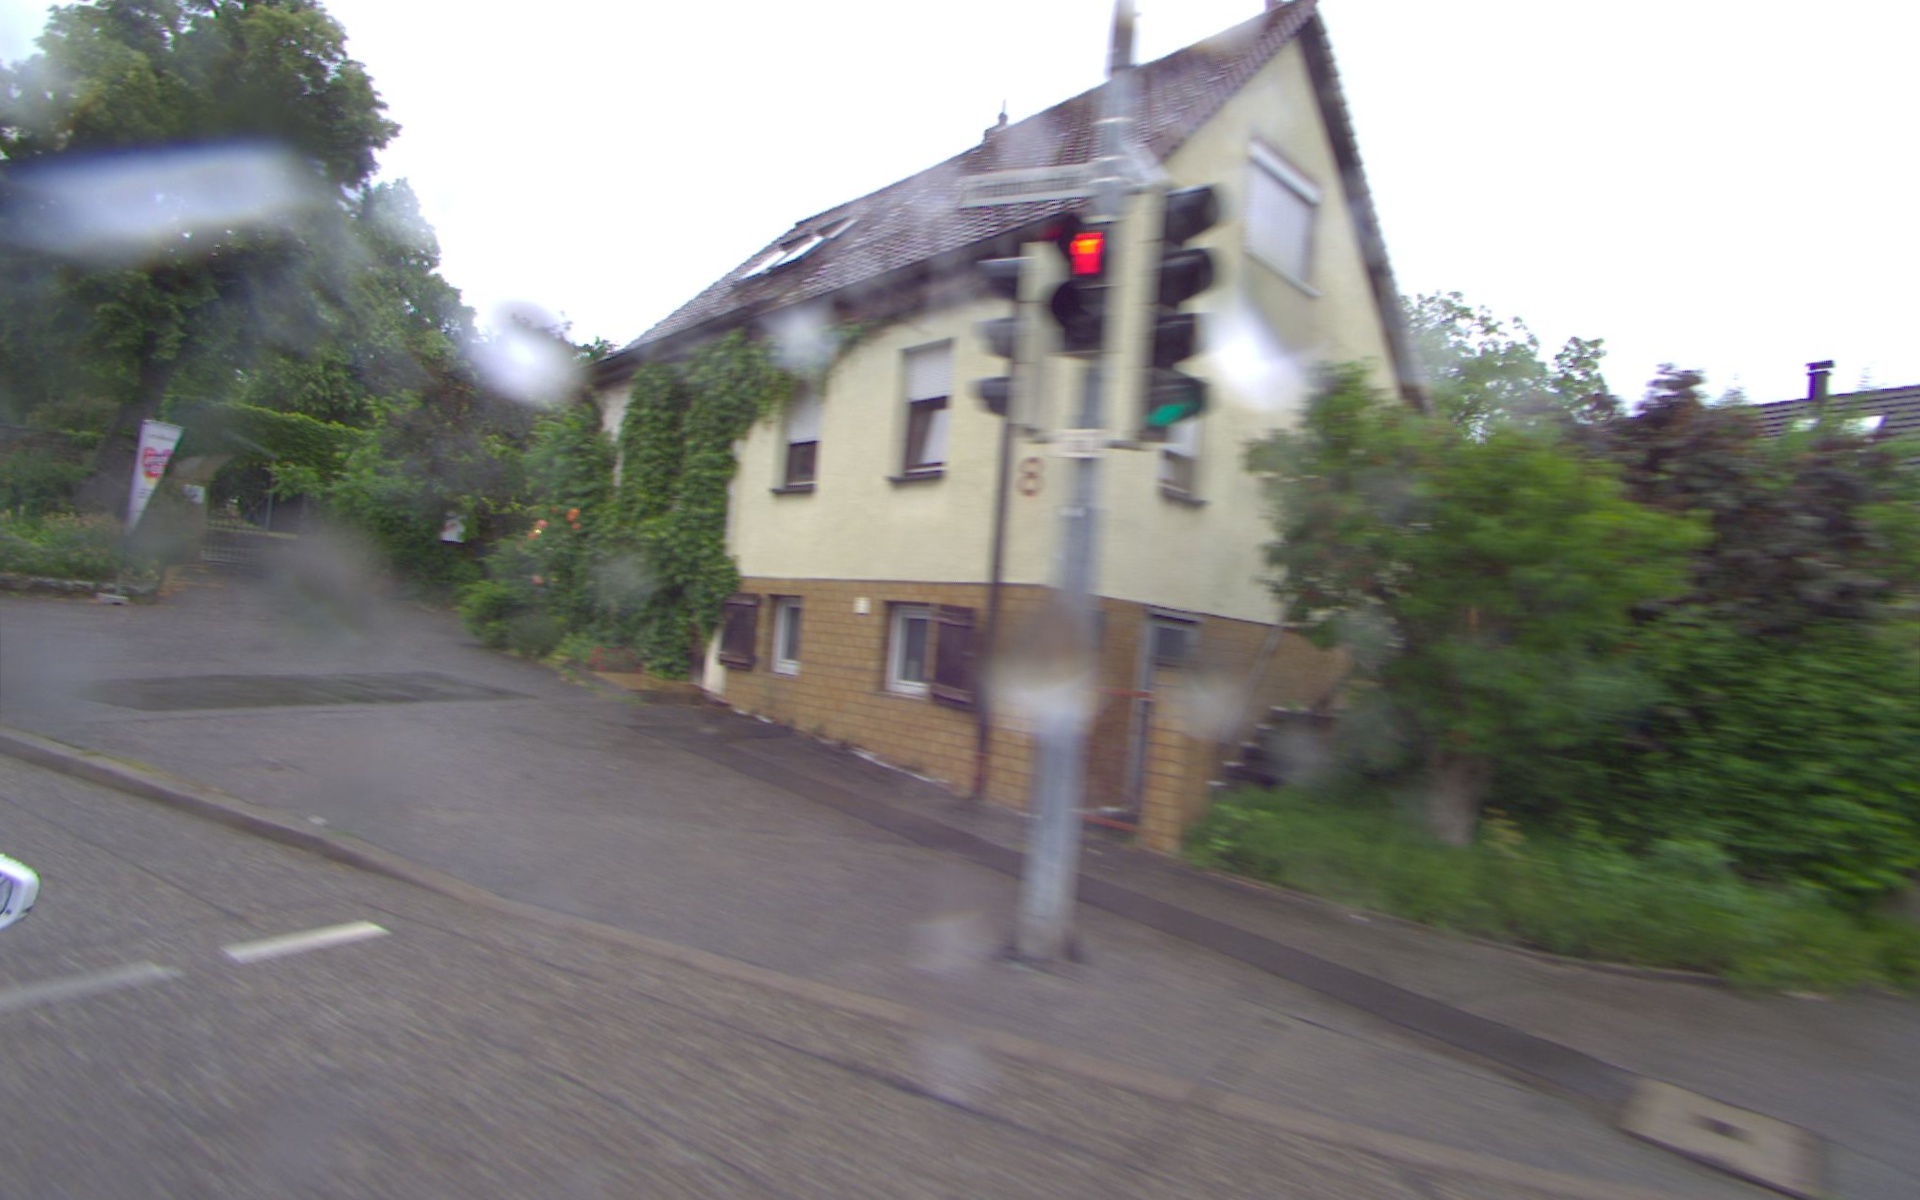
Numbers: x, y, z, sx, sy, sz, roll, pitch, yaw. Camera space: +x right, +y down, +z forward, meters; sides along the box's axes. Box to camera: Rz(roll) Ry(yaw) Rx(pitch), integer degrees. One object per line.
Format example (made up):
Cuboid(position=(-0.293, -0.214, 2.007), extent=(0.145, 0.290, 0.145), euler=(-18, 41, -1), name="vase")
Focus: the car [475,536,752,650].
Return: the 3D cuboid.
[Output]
Cuboid(position=(-5.776, -0.063, 17.150), extent=(1.653, 1.478, 4.089), euler=(9, 2, 42), name="car")
